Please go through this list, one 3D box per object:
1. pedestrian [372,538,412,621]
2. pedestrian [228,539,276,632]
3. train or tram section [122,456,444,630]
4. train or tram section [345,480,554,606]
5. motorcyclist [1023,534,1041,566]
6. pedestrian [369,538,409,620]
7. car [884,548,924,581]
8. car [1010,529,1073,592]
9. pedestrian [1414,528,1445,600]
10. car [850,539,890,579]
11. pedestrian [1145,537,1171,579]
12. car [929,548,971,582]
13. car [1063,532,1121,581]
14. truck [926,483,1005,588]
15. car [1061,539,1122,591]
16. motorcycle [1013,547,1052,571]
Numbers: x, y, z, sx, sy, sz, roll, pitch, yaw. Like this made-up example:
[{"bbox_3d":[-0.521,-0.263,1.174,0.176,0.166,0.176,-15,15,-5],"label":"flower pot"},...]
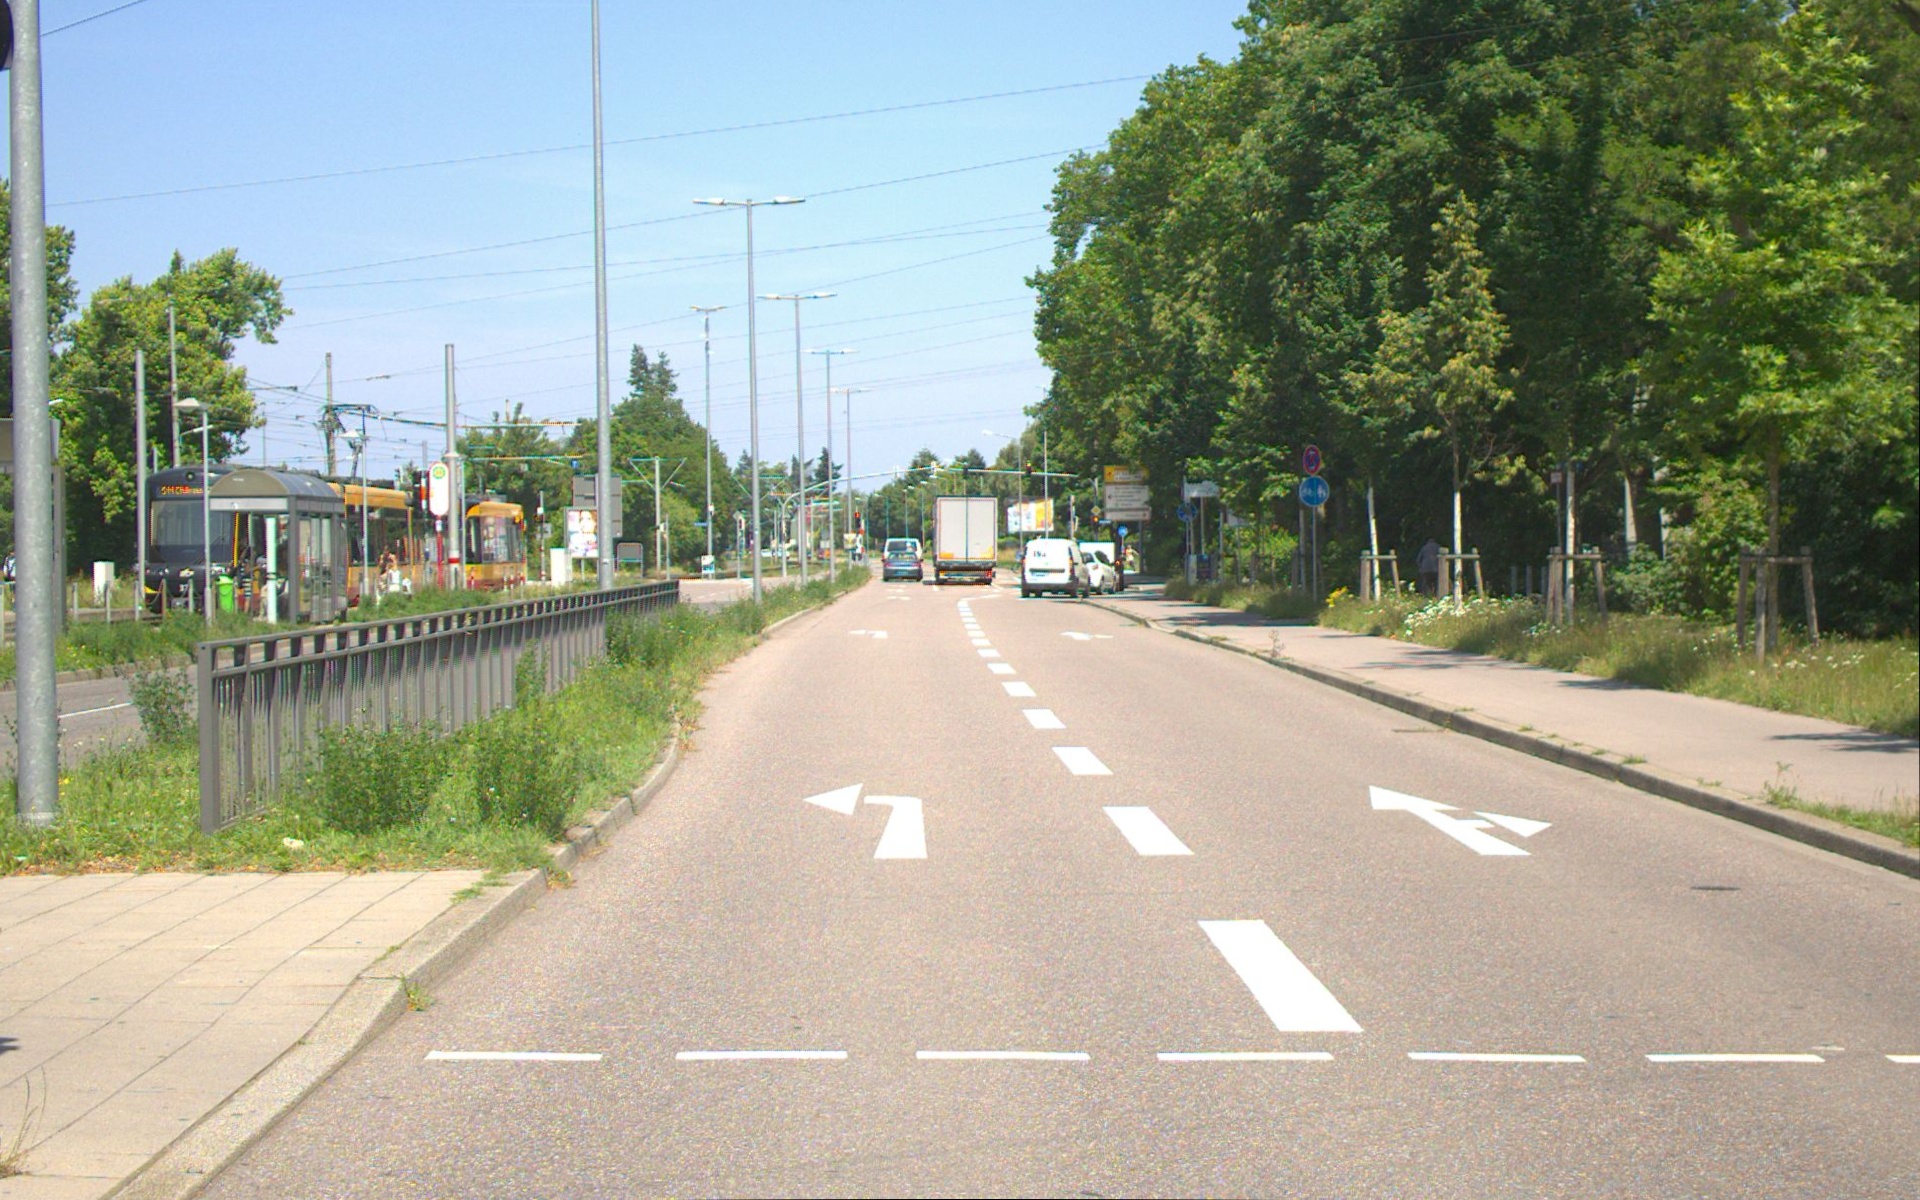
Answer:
[{"bbox_3d":[-13.826,-0.511,83.651,0.815,2.007,0.938,0,1,-1],"label":"pedestrian"},{"bbox_3d":[-14.265,-0.305,69.299,0.785,1.862,0.817,0,1,-1],"label":"pedestrian"},{"bbox_3d":[-16.802,-1.489,88.912,2.957,3.736,30.035,0,1,-1],"label":"train or tram section"},{"bbox_3d":[-17.397,-2.020,120.532,2.931,3.776,33.090,0,1,-1],"label":"train or tram section"},{"bbox_3d":[4.251,-2.955,202.970,0.924,1.829,0.850,-1,1,-12],"label":"motorcyclist"},{"bbox_3d":[-14.104,-0.528,84.945,0.815,2.007,0.938,0,1,-1],"label":"pedestrian"},{"bbox_3d":[-2.573,-1.655,157.882,1.811,1.459,4.000,0,1,-1],"label":"car"},{"bbox_3d":[2.498,-1.225,105.513,1.779,1.897,4.000,0,1,-1],"label":"car"},{"bbox_3d":[9.443,-0.723,69.179,0.604,1.433,0.556,0,1,6],"label":"pedestrian"},{"bbox_3d":[-4.571,-2.079,175.163,1.993,2.007,4.000,0,1,-1],"label":"car"},{"bbox_3d":[9.403,-1.991,163.336,1.185,2.007,1.214,0,1,0],"label":"pedestrian"},{"bbox_3d":[-0.449,-1.561,153.615,1.811,1.459,4.000,0,1,-1],"label":"car"},{"bbox_3d":[4.535,-1.518,118.787,1.779,1.663,4.000,0,1,-1],"label":"car"},{"bbox_3d":[0.198,-2.722,146.050,3.205,4.344,6.561,0,1,-1],"label":"truck"},{"bbox_3d":[4.286,-1.154,112.444,1.779,1.663,4.000,0,1,-1],"label":"car"},{"bbox_3d":[4.262,-2.426,202.955,2.182,1.402,0.848,-1,1,-11],"label":"motorcycle"}]
